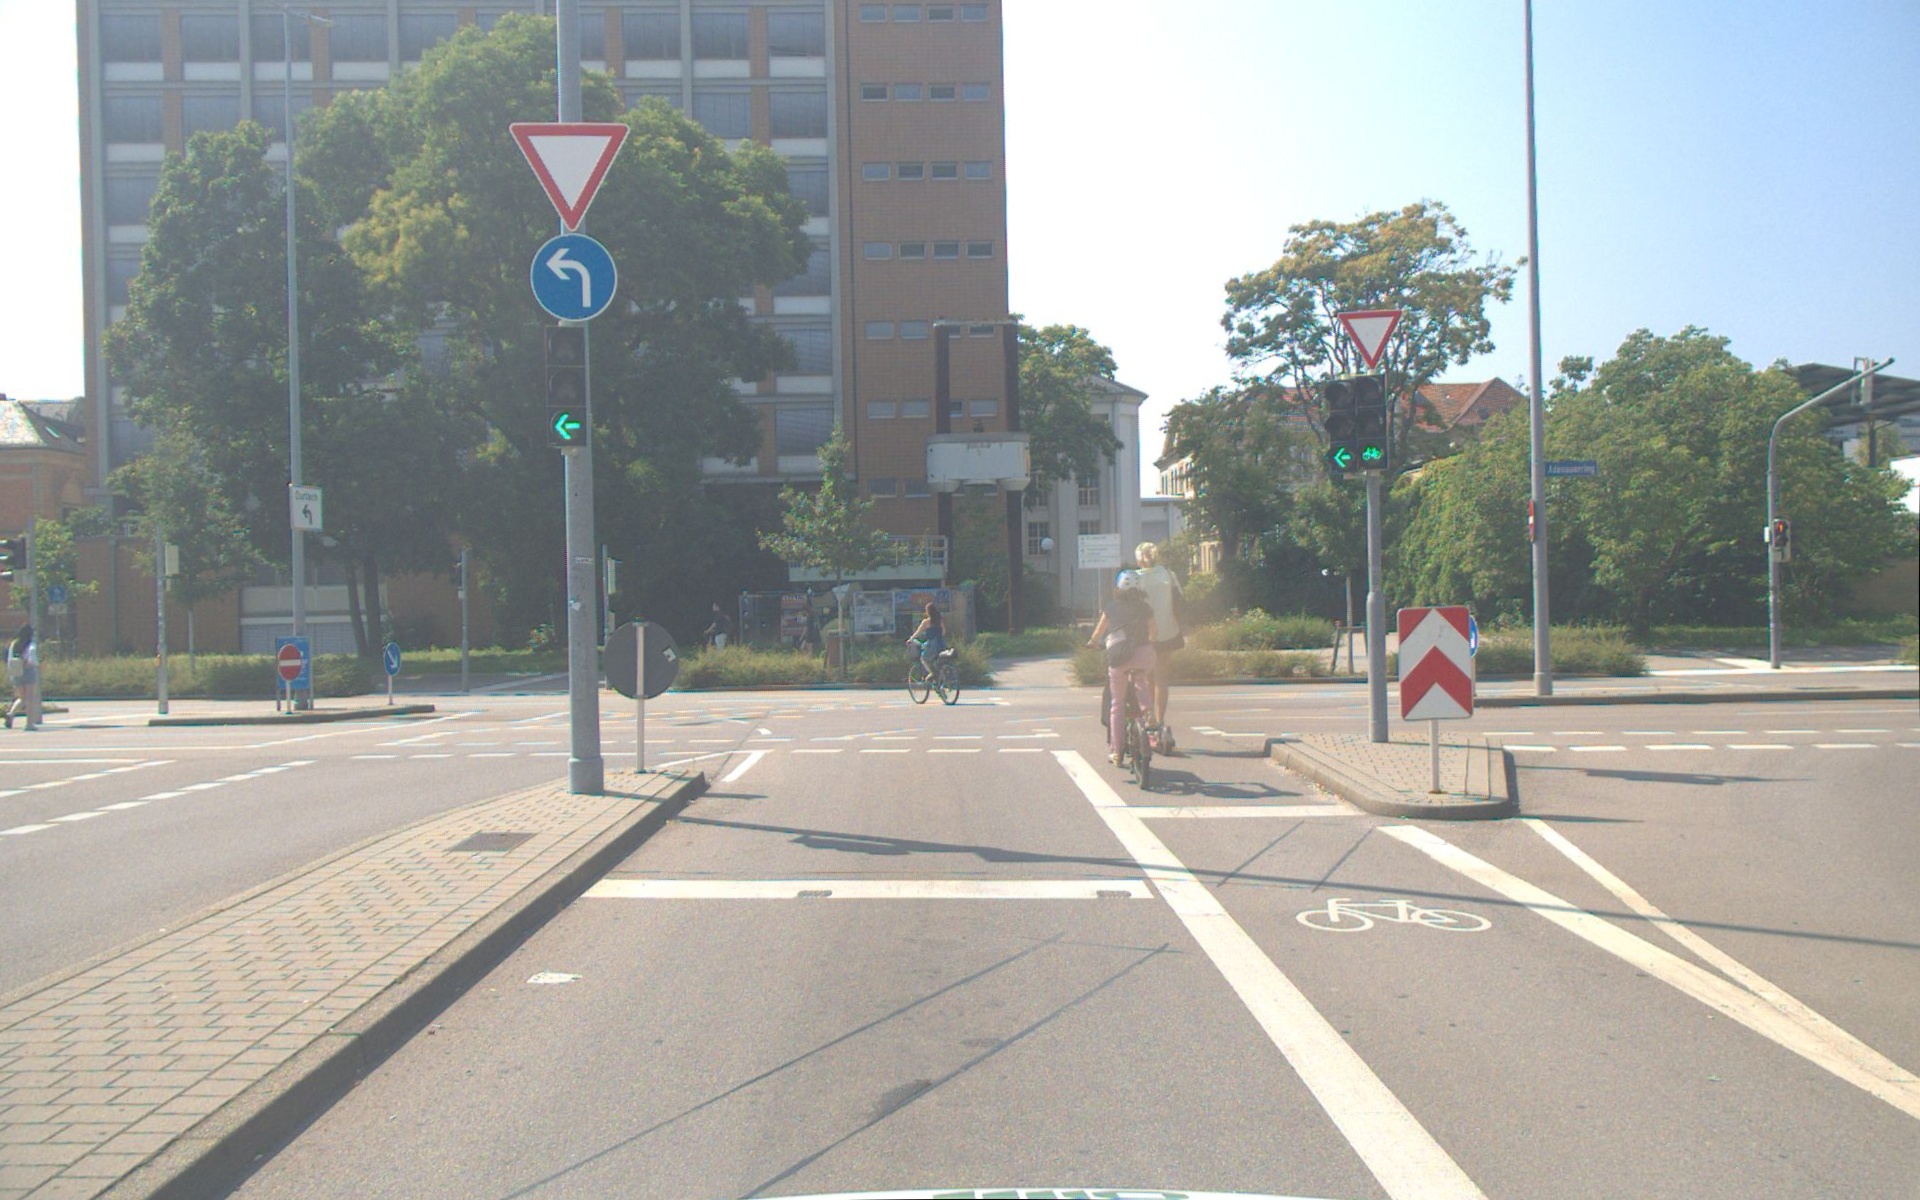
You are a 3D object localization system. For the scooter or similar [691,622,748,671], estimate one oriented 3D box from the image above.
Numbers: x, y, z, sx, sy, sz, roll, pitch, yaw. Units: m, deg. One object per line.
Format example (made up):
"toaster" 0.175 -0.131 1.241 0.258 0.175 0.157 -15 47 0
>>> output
"scooter or similar" -6.387 1.243 43.956 1.335 1.256 0.585 -2 0 21

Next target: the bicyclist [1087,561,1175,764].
"bicyclist" 1.327 0.475 12.936 0.537 1.522 0.803 -2 0 -2

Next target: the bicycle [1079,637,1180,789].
"bicycle" 1.335 0.864 13.321 0.545 1.078 2.003 -1 0 -2

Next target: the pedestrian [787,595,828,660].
"pedestrian" -4.159 0.750 45.227 0.857 1.734 0.708 -2 1 16

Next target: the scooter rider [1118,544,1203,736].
"scooter rider" 1.857 0.363 15.360 0.657 1.729 0.539 -2 0 -2

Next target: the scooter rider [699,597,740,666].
"scooter rider" -6.381 0.832 43.856 0.786 1.770 0.689 -2 0 20

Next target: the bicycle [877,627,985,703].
"bicycle" -0.521 1.084 28.377 0.687 1.175 2.343 -3 2 -33

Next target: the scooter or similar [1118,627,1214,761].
"scooter or similar" 1.871 0.826 15.248 0.545 1.078 2.003 -2 1 -2

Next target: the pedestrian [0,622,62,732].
"pedestrian" -15.088 1.242 26.781 0.593 1.724 0.701 -2 0 16

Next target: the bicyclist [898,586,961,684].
"bicyclist" -0.523 0.586 28.334 0.684 1.626 0.834 -3 2 -34
